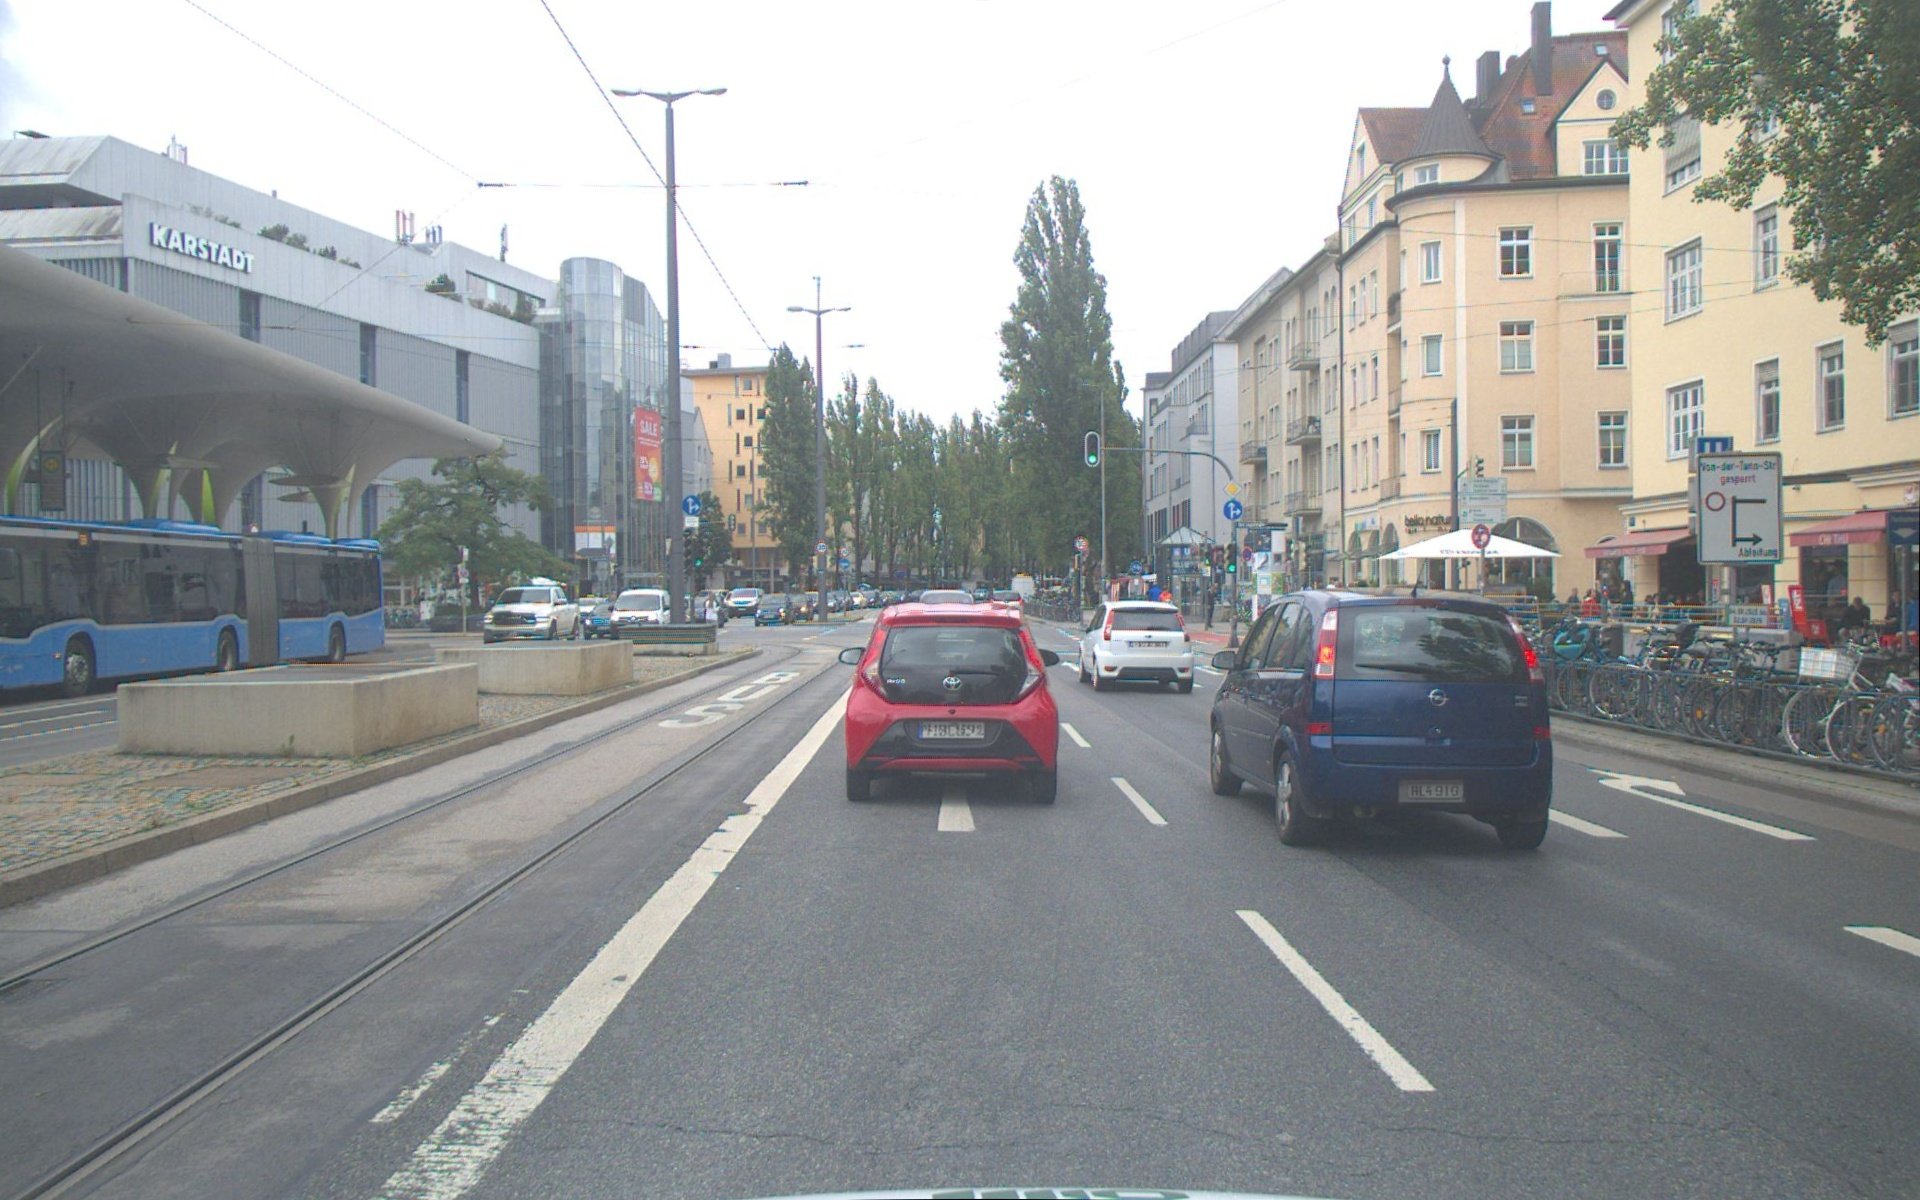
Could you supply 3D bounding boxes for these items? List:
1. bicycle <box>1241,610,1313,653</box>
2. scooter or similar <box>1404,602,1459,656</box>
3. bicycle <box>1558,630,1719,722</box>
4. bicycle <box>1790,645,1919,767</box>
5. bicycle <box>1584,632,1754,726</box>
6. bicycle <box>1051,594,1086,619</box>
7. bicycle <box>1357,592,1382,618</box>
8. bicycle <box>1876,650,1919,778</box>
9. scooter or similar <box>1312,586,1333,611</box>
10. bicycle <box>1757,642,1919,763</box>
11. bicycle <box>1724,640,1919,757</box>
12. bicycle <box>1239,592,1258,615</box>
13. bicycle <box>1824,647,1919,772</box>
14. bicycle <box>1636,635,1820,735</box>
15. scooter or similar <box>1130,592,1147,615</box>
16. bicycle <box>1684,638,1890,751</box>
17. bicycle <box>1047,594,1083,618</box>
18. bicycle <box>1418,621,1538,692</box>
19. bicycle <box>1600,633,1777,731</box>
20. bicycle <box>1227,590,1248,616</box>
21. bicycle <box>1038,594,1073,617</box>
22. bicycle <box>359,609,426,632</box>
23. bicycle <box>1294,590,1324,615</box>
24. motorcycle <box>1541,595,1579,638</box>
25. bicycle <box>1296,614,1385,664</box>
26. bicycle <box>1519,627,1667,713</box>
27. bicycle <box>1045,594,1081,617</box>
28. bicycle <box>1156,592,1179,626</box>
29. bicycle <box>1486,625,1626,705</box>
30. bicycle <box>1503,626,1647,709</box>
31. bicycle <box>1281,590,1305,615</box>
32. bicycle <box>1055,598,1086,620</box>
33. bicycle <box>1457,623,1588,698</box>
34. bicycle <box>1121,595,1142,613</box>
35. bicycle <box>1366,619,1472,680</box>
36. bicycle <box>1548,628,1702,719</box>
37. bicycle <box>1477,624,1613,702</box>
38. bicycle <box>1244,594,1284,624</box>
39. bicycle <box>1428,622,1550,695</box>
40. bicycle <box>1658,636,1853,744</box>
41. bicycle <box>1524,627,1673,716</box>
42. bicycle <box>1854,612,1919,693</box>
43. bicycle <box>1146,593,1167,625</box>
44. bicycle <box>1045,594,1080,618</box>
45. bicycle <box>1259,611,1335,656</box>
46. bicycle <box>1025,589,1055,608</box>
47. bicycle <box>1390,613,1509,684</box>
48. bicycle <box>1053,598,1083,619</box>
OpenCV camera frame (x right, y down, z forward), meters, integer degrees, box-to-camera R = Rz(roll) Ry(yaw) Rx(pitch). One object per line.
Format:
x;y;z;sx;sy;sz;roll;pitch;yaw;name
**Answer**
7.758;0.774;40.549;1.811;1.013;0.345;-2;0;44;bicycle
9.971;0.610;34.990;0.760;1.094;1.256;-1;0;-2;scooter or similar
8.201;0.900;20.053;1.809;1.013;0.323;2;2;42;bicycle
8.357;0.942;14.602;1.806;1.013;0.373;1;2;38;bicycle
8.303;0.907;19.403;1.803;1.013;0.324;1;2;32;bicycle
5.375;0.329;82.179;1.773;1.219;0.555;0;1;43;bicycle
18.214;0.218;73.575;0.485;1.108;1.864;-1;0;-6;bicycle
8.350;0.952;13.171;1.811;1.013;0.373;2;2;45;bicycle
15.139;-0.060;69.115;0.802;1.011;0.594;-1;3;8;scooter or similar
8.355;0.938;15.225;1.811;1.013;0.373;2;2;44;bicycle
8.387;0.934;15.963;1.806;1.013;0.374;1;2;37;bicycle
12.661;0.133;72.594;0.484;0.992;1.866;-1;0;0;bicycle
8.326;0.945;13.944;1.809;1.013;0.373;1;2;42;bicycle
8.376;0.916;18.093;1.799;1.013;0.375;1;2;24;bicycle
9.302;0.185;86.218;0.357;1.196;1.345;-1;0;29;scooter or similar
8.272;0.927;16.598;1.806;1.013;0.374;1;2;37;bicycle
5.307;0.305;83.571;1.770;1.178;0.546;0;0;38;bicycle
8.086;0.872;25.866;1.808;1.013;0.323;1;2;40;bicycle
8.255;0.910;18.789;1.806;1.013;0.324;1;2;37;bicycle
12.170;0.121;72.607;0.555;1.127;1.866;-1;0;0;bicycle
5.060;0.305;87.754;1.768;1.178;0.650;0;0;36;bicycle
-31.153;1.133;90.758;3.419;1.177;1.061;-1;0;12;bicycle
15.332;0.119;72.713;0.486;1.077;1.859;-1;0;-15;bicycle
16.465;0.444;45.398;0.476;1.176;1.571;-1;0;0;motorcycle
7.866;0.808;34.223;1.807;1.013;0.346;-2;0;40;bicycle
8.212;0.891;21.522;1.809;1.013;0.323;2;2;42;bicycle
5.310;0.296;85.064;1.763;1.178;0.486;-1;0;26;bicycle
8.164;0.336;65.192;0.601;1.287;2.520;-1;1;0;bicycle
8.234;0.882;22.886;1.805;1.013;0.324;1;2;37;bicycle
8.223;0.886;22.175;1.809;1.013;0.323;2;2;42;bicycle
14.581;0.109;72.437;0.485;1.077;1.864;-1;0;-5;bicycle
5.383;0.426;80.663;0.495;1.046;1.576;-1;1;-42;bicycle
8.238;0.873;24.258;1.805;1.013;0.324;1;2;37;bicycle
9.700;0.245;93.473;1.156;0.980;0.369;-1;0;3;bicycle
7.942;0.849;28.670;1.811;1.013;0.345;-2;0;44;bicycle
8.247;0.897;20.573;0.322;1.013;1.813;-1;2;-43;bicycle
8.289;0.879;23.490;1.805;1.013;0.324;1;2;37;bicycle
12.494;0.376;68.074;1.536;1.180;0.525;-2;2;2;bicycle
8.031;0.875;25.172;1.811;1.013;0.323;2;2;44;bicycle
8.320;0.923;17.346;1.806;1.013;0.374;1;2;37;bicycle
8.109;0.891;21.078;0.322;1.013;1.813;-1;2;-43;bicycle
12.862;0.694;22.117;1.689;1.064;0.387;0;1;-7;bicycle
8.419;0.375;71.064;0.601;1.287;2.520;-1;1;0;bicycle
5.214;0.298;84.253;1.770;1.178;0.546;0;0;38;bicycle
7.821;0.790;38.393;1.811;1.013;0.345;-2;0;44;bicycle
4.816;-0.102;99.565;1.805;1.156;0.583;0;1;43;bicycle
8.040;0.791;27.195;1.803;1.132;0.466;-1;1;32;bicycle
5.301;0.416;81.518;0.495;1.046;1.576;-1;1;-42;bicycle
